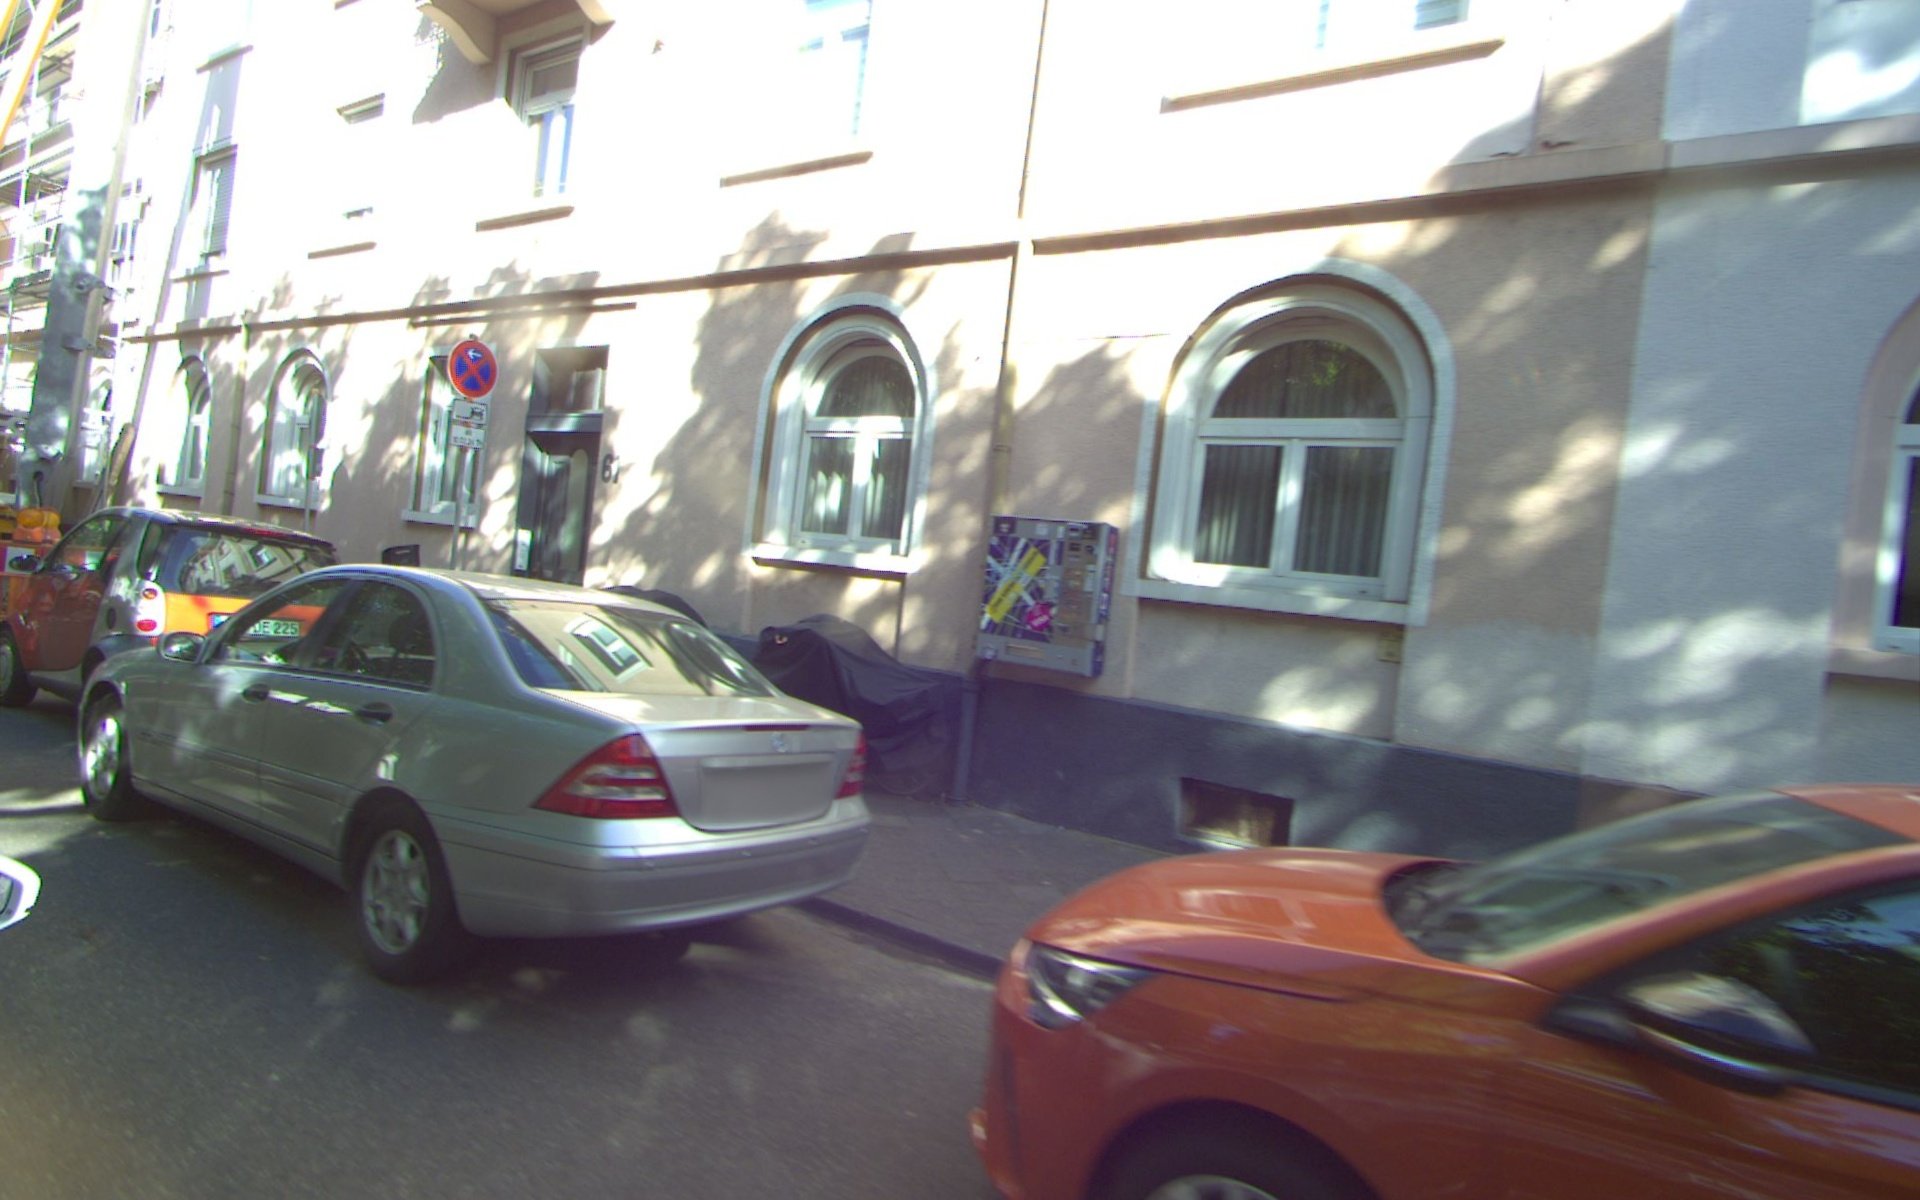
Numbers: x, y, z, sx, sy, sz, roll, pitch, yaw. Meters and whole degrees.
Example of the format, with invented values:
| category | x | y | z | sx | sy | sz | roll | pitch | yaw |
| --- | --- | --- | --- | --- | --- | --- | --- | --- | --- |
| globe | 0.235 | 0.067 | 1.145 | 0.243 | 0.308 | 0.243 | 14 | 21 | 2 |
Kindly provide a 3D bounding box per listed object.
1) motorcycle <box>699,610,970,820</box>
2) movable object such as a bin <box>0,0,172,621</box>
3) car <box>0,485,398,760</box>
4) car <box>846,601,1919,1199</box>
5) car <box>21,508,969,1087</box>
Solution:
| category | x | y | z | sx | sy | sz | roll | pitch | yaw |
| --- | --- | --- | --- | --- | --- | --- | --- | --- | --- |
| motorcycle | -0.925 | 0.792 | 7.346 | 1.803 | 1.208 | 0.548 | 7 | 1 | 21 |
| movable object such as a bin | -12.202 | -3.407 | 11.911 | 3.446 | 6.842 | 2.354 | 7 | 0 | -25 |
| car | -5.770 | 0.114 | 7.418 | 2.734 | 1.549 | 1.594 | 7 | 0 | 32 |
| car | 1.926 | 1.039 | 2.107 | 3.895 | 1.542 | 1.794 | 7 | 0 | 28 |
| car | -2.420 | 0.549 | 4.911 | 4.426 | 1.426 | 1.997 | 7 | -1 | 32 |
